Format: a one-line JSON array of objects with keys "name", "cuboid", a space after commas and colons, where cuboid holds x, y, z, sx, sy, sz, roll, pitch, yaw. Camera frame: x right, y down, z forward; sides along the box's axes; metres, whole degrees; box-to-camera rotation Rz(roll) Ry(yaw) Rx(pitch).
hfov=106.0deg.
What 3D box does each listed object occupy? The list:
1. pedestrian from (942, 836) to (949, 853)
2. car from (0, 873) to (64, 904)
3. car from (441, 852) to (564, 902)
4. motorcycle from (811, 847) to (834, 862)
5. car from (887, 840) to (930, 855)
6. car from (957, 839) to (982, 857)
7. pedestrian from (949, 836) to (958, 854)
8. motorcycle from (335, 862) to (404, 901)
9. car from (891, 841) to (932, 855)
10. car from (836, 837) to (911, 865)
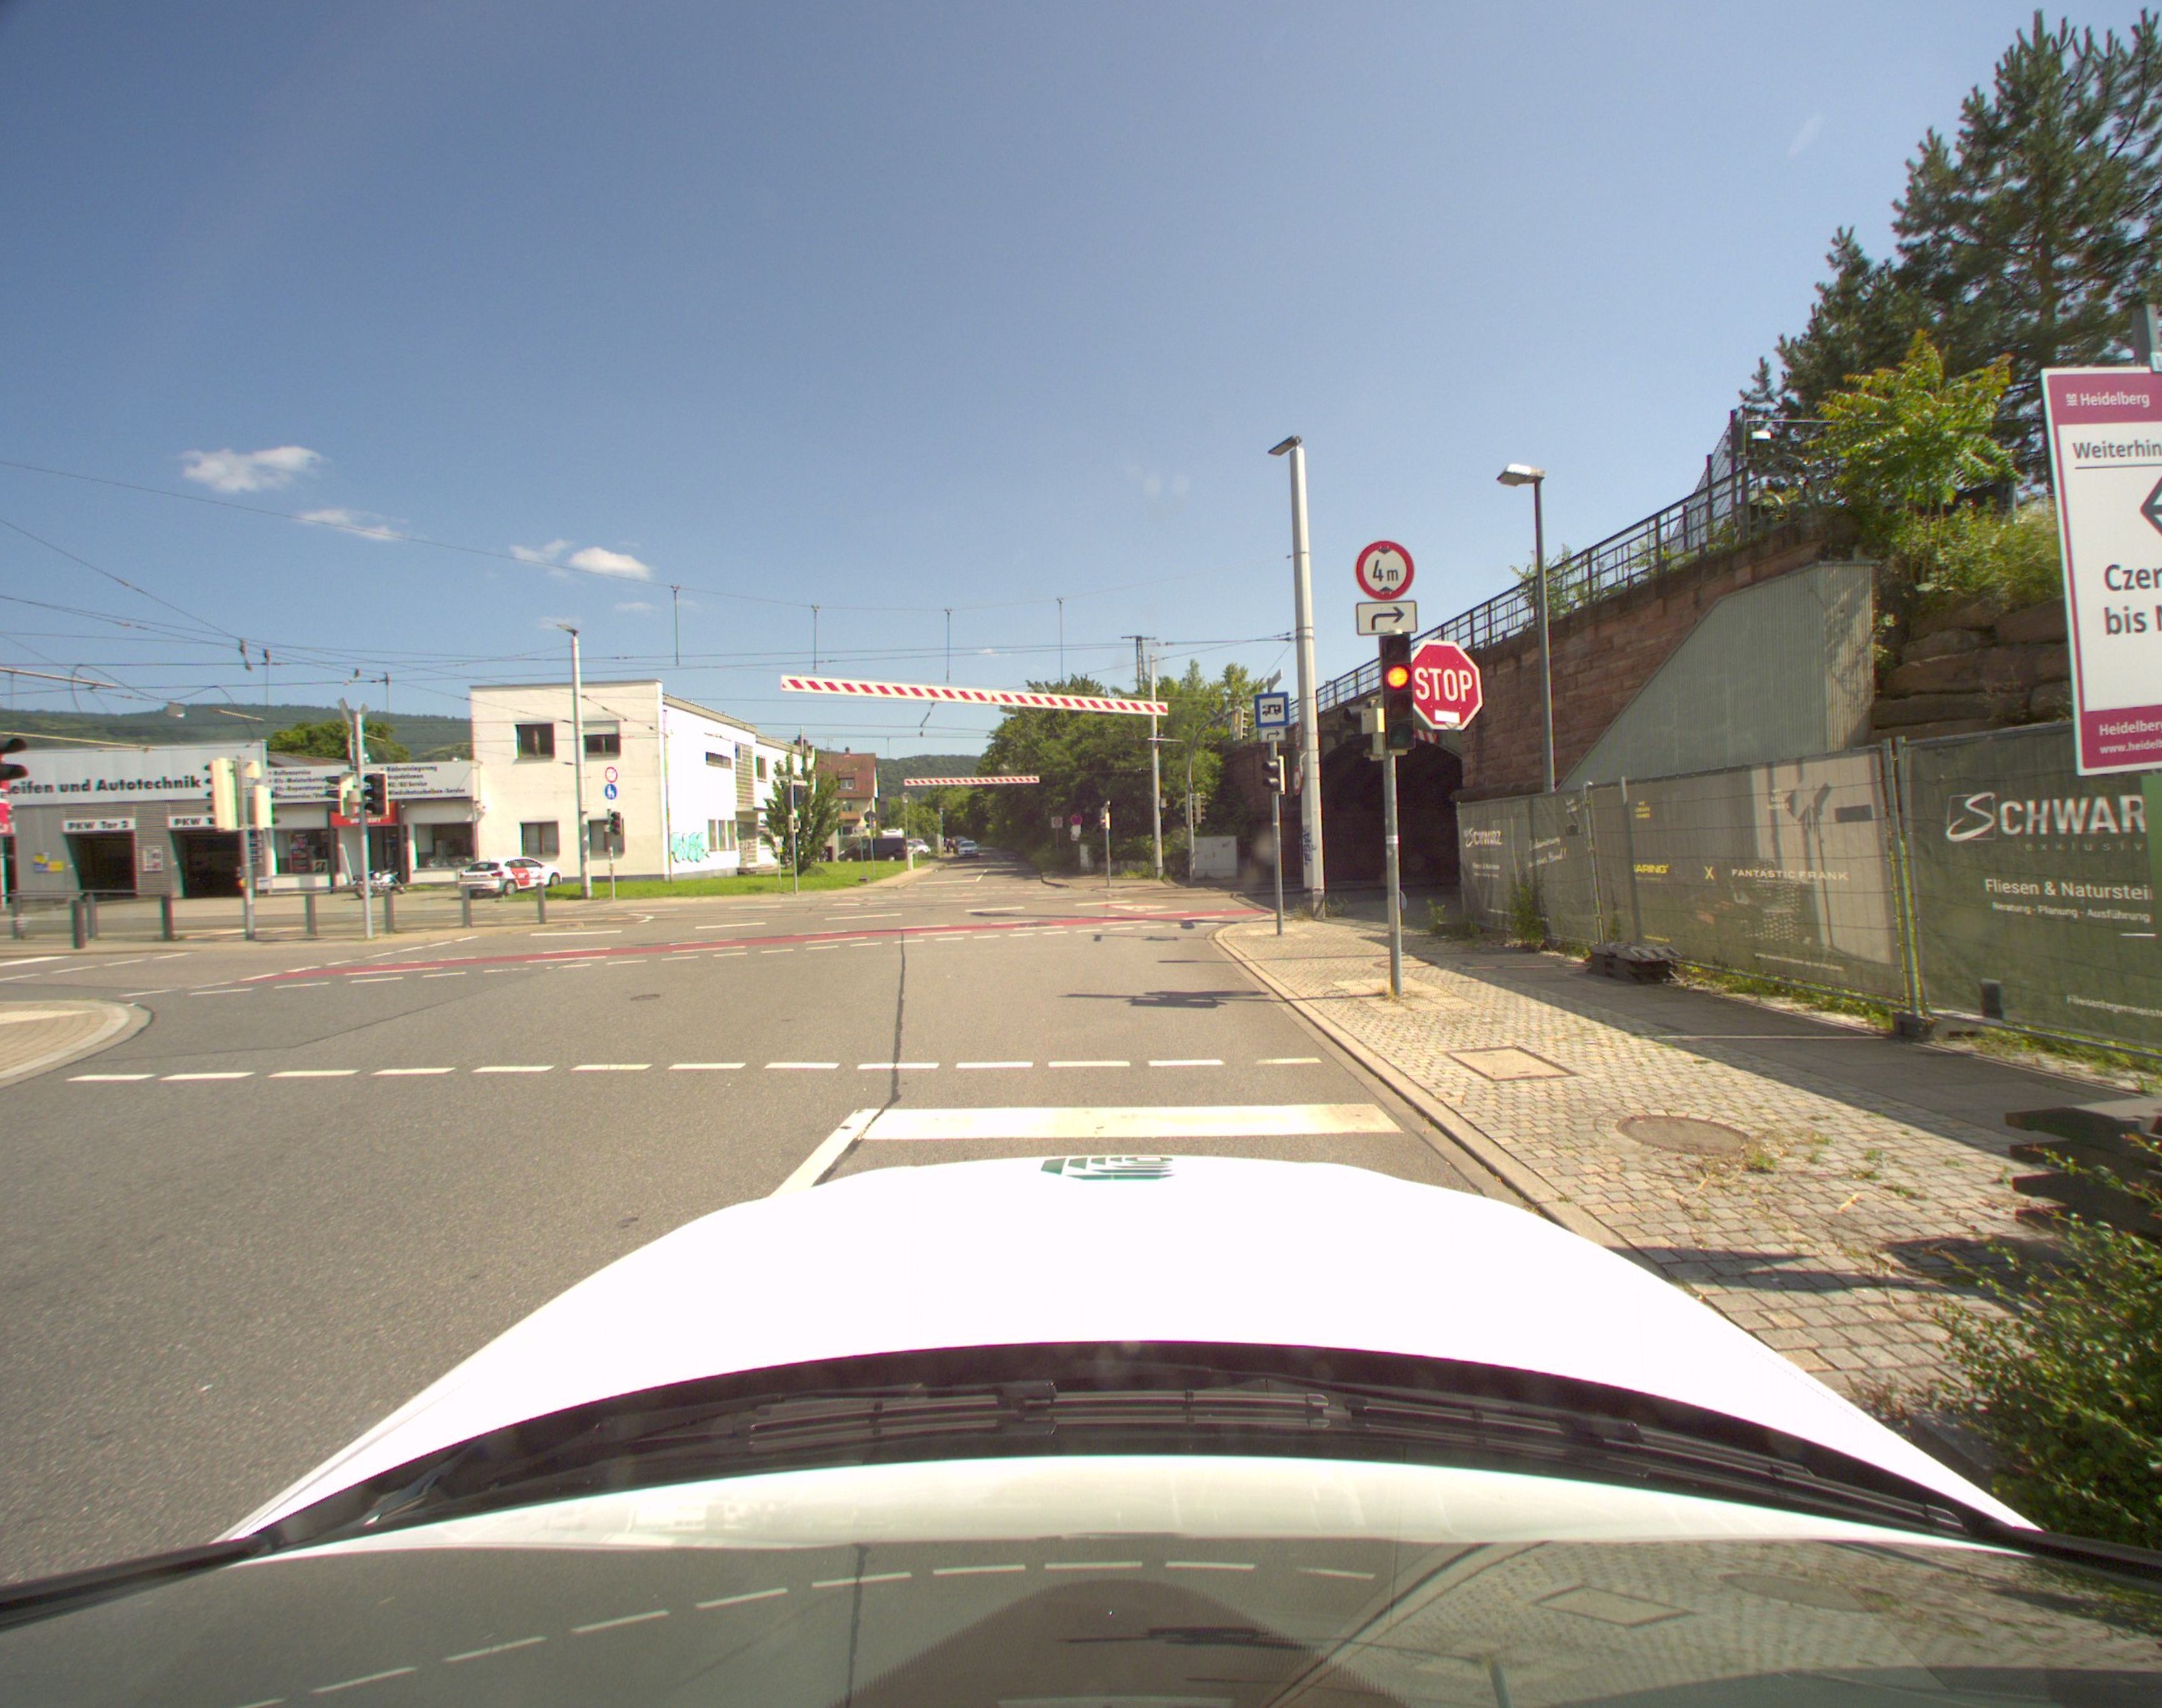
[{"name": "pedestrian", "cuboid": [-13.746, -0.973, 82.422, 0.653, 1.763, 0.802, 0, -1, -7]}, {"name": "car", "cuboid": [-52.558, 1.725, 39.506, 1.716, 1.376, 3.769, -2, 1, -4]}, {"name": "car", "cuboid": [-22.642, 0.841, 32.102, 1.878, 1.462, 4.001, -2, 4, -1]}, {"name": "motorcycle", "cuboid": [-17.558, 0.050, 55.425, 0.850, 1.032, 2.564, 0, -1, -3]}, {"name": "car", "cuboid": [-16.098, -0.573, 75.984, 3.715, 1.371, 1.601, 0, -1, -6]}, {"name": "car", "cuboid": [-10.000, -0.556, 73.161, 2.084, 1.510, 4.530, 0, 1, -6]}, {"name": "pedestrian", "cuboid": [-12.931, -0.898, 82.351, 0.875, 1.763, 0.729, 0, -1, -7]}, {"name": "motorcycle", "cuboid": [-28.301, 1.055, 32.448, 0.726, 1.308, 2.191, -2, 4, 0]}, {"name": "car", "cuboid": [-16.285, -0.569, 78.409, 3.715, 1.371, 1.601, 0, 0, -6]}, {"name": "car", "cuboid": [-15.660, -0.231, 61.744, 5.245, 1.816, 1.995, -3, 1, -8]}]
